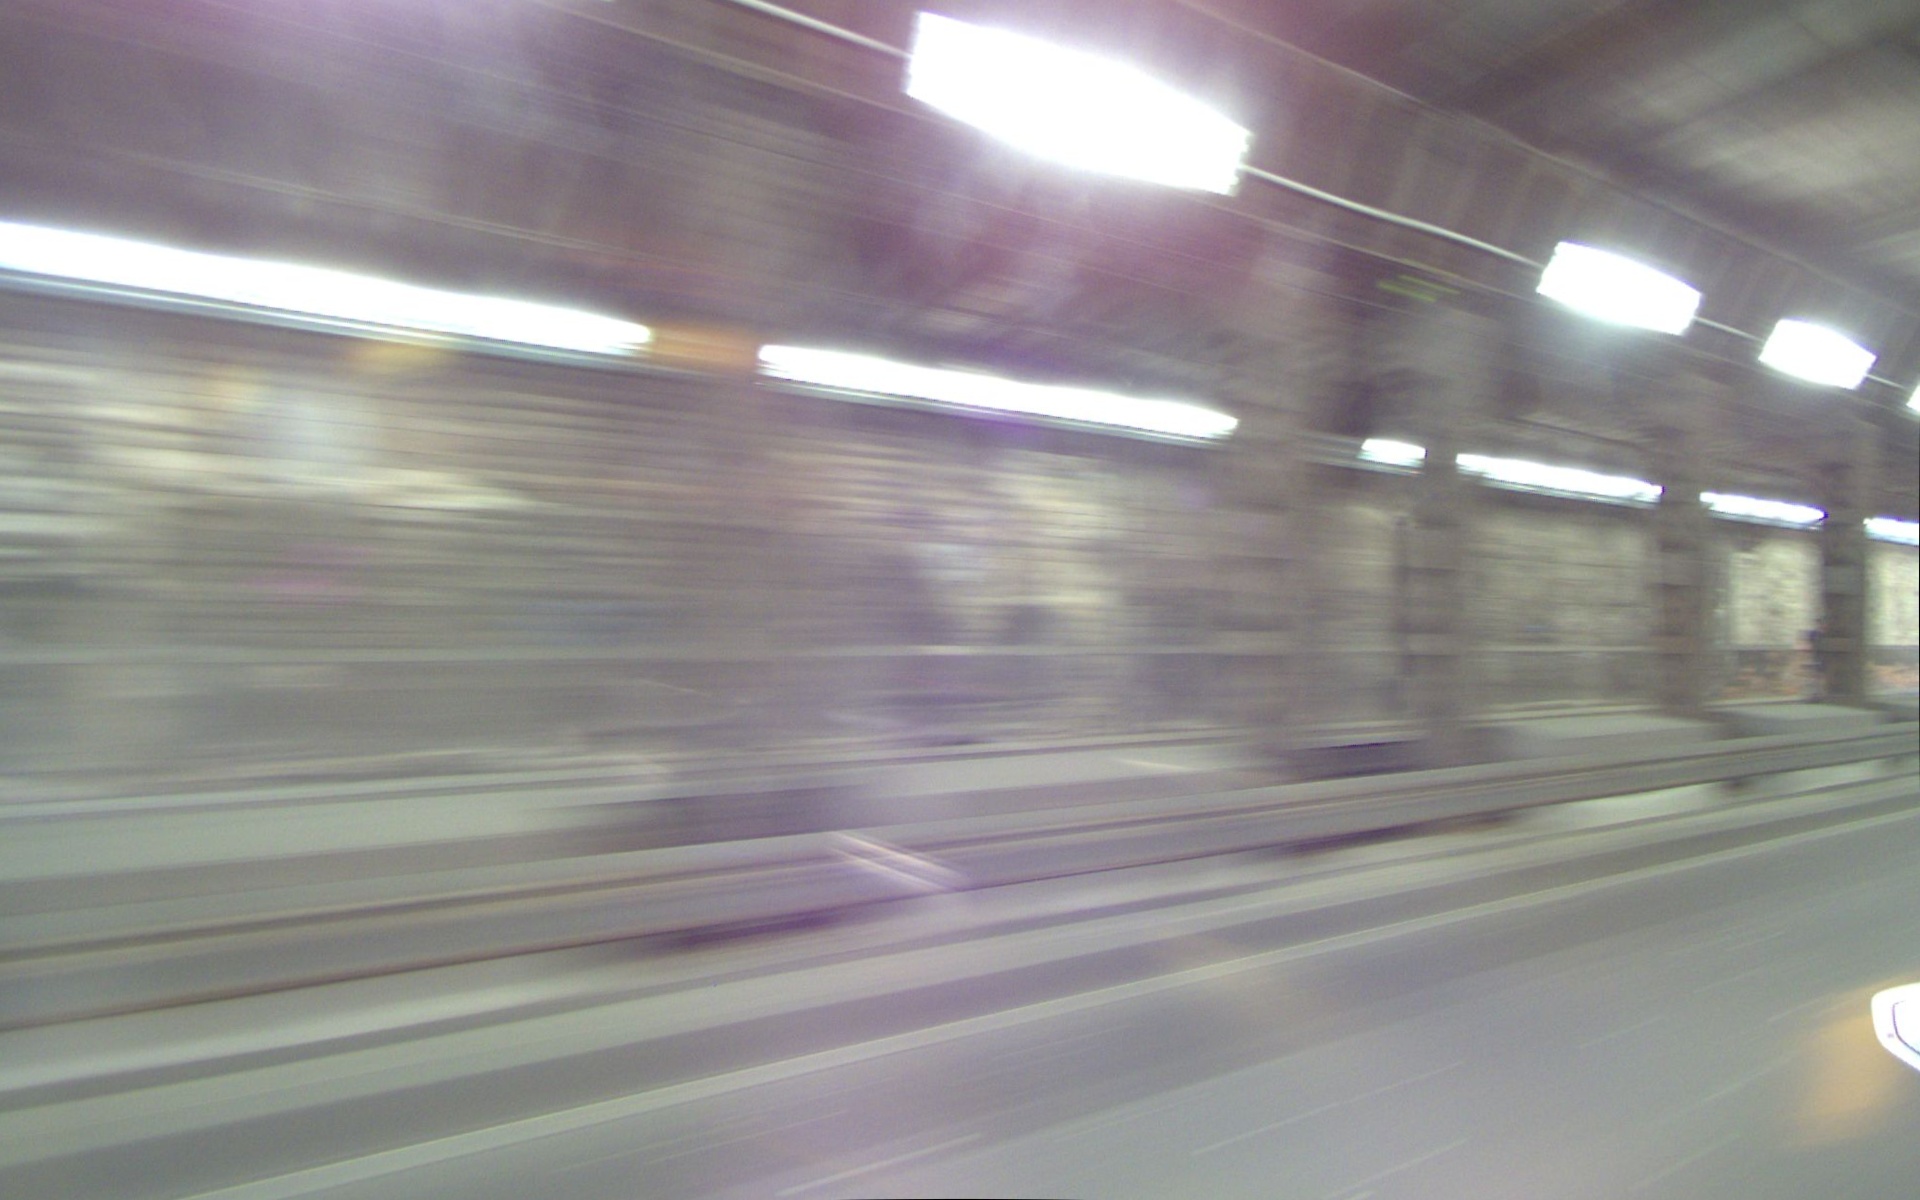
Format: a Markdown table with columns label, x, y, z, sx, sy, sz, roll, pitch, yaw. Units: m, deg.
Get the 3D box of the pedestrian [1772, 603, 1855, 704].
| label | x | y | z | sx | sy | sz | roll | pitch | yaw |
| --- | --- | --- | --- | --- | --- | --- | --- | --- | --- |
| pedestrian | 18.236 | 1.133 | 21.463 | 1.339 | 2.082 | 0.954 | 3 | -2 | -29 |
